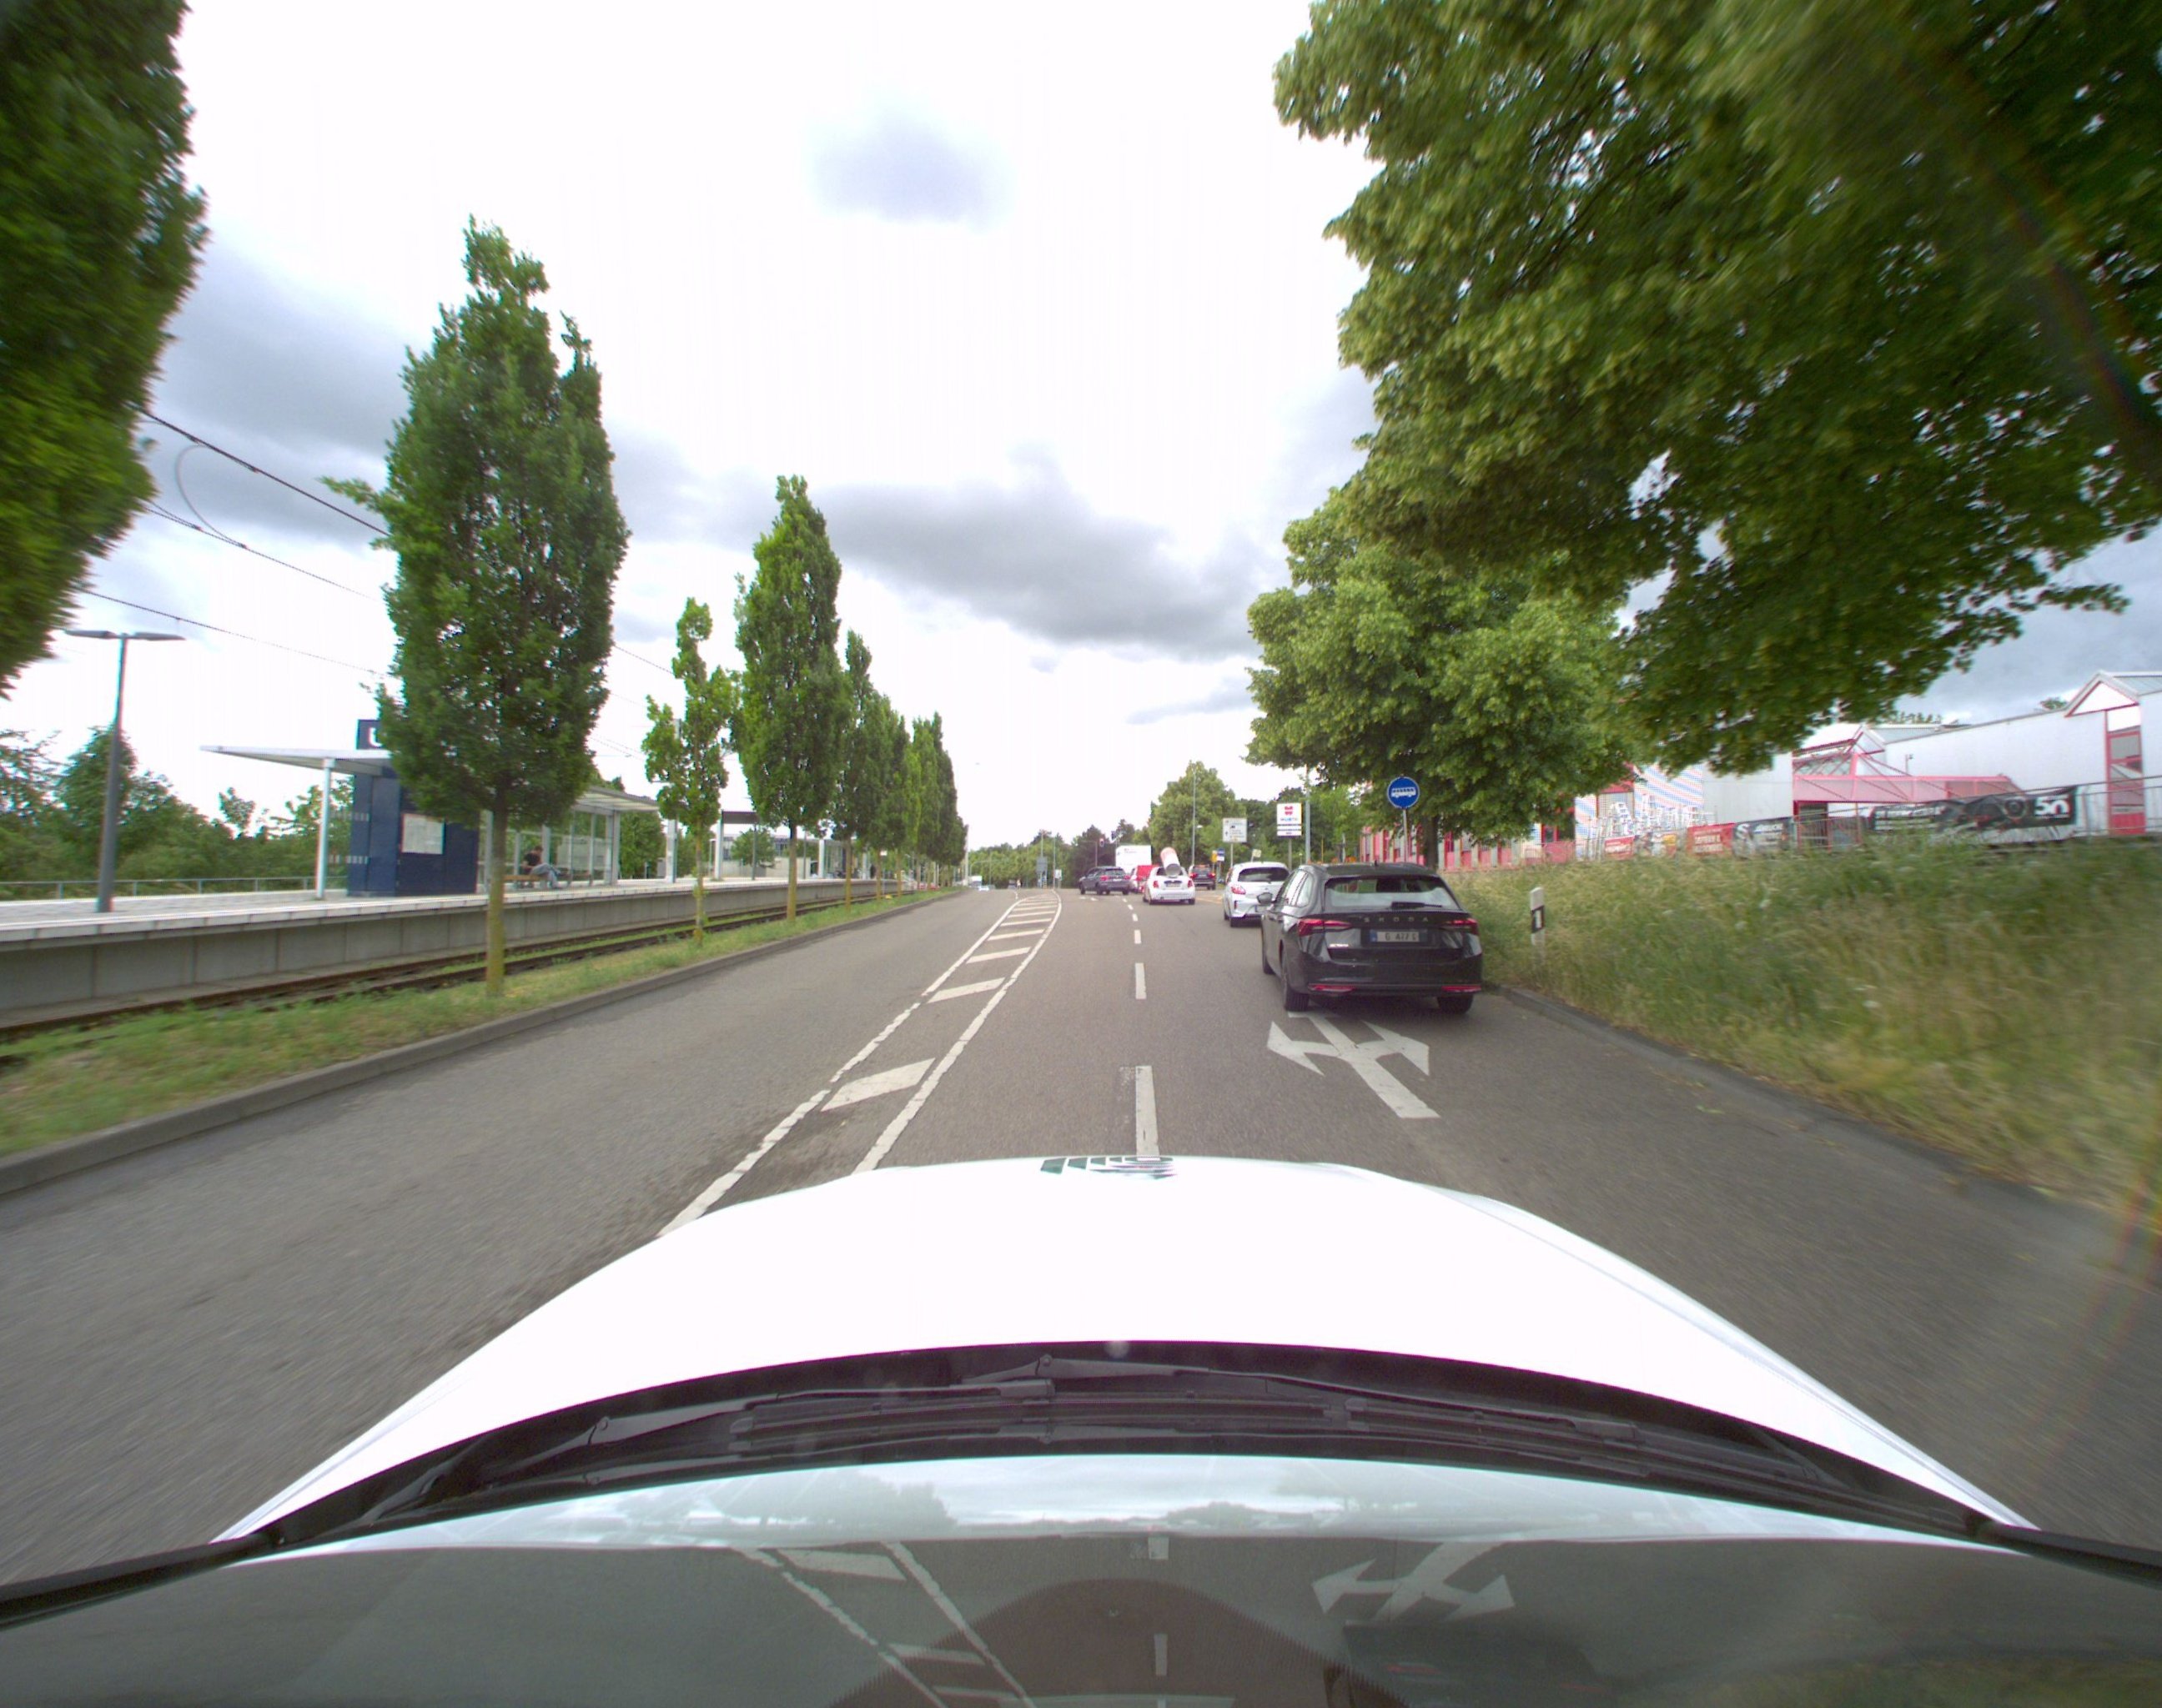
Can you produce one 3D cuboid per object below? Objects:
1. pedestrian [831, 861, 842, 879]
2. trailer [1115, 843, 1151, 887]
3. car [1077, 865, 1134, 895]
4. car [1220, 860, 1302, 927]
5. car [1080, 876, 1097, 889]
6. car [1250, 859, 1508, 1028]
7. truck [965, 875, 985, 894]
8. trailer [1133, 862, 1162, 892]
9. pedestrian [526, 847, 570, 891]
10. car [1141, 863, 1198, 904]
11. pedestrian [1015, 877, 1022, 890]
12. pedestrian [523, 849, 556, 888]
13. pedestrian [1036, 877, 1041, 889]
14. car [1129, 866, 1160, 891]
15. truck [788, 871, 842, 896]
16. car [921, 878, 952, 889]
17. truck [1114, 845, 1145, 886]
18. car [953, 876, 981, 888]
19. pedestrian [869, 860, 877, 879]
[{"bbox_3d":[-17.529,1.139,58.465,0.609,1.269,0.658,-1,0,-7],"label":"pedestrian"},{"bbox_3d":[4.585,1.017,73.178,2.558,3.706,7.759,-1,-1,-1],"label":"trailer"},{"bbox_3d":[1.281,1.368,44.098,1.705,1.486,3.971,0,0,-21],"label":"car"},{"bbox_3d":[4.274,0.886,19.805,1.614,1.457,3.696,-1,-1,7],"label":"car"},{"bbox_3d":[0.860,3.364,95.215,1.717,1.422,4.352,-1,-3,-2],"label":"car"},{"bbox_3d":[2.986,0.798,9.130,1.826,1.432,4.287,-1,-1,8],"label":"car"},{"bbox_3d":[-21.757,6.175,166.486,2.666,3.649,9.449,1,-1,-16],"label":"truck"},{"bbox_3d":[3.686,1.264,45.510,1.404,1.594,3.304,-1,-1,2],"label":"trailer"},{"bbox_3d":[-14.704,0.413,22.484,0.759,1.199,0.665,-1,-1,-3],"label":"pedestrian"},{"bbox_3d":[3.341,1.119,31.459,1.714,1.457,3.694,-1,-2,-1],"label":"car"},{"bbox_3d":[-8.067,3.808,105.448,0.862,1.560,0.517,-1,0,-4],"label":"pedestrian"},{"bbox_3d":[-15.512,0.414,23.343,0.605,1.079,0.470,-1,0,-3],"label":"pedestrian"},{"bbox_3d":[-5.622,3.835,107.238,0.585,1.621,0.422,-1,0,-4],"label":"pedestrian"},{"bbox_3d":[3.803,1.491,49.399,1.665,1.448,4.490,-1,-2,2],"label":"car"},{"bbox_3d":[-40.506,4.498,124.018,7.212,3.599,2.693,-1,0,1],"label":"truck"},{"bbox_3d":[-20.799,4.306,117.198,4.037,1.488,1.717,-1,-3,22],"label":"car"},{"bbox_3d":[4.547,1.087,77.071,2.564,3.706,4.103,-1,-1,-2],"label":"truck"},{"bbox_3d":[-15.672,3.842,111.842,3.692,1.574,1.726,2,-3,-8],"label":"car"},{"bbox_3d":[-20.900,1.551,81.818,0.571,1.828,0.791,0,-3,-6],"label":"pedestrian"}]
